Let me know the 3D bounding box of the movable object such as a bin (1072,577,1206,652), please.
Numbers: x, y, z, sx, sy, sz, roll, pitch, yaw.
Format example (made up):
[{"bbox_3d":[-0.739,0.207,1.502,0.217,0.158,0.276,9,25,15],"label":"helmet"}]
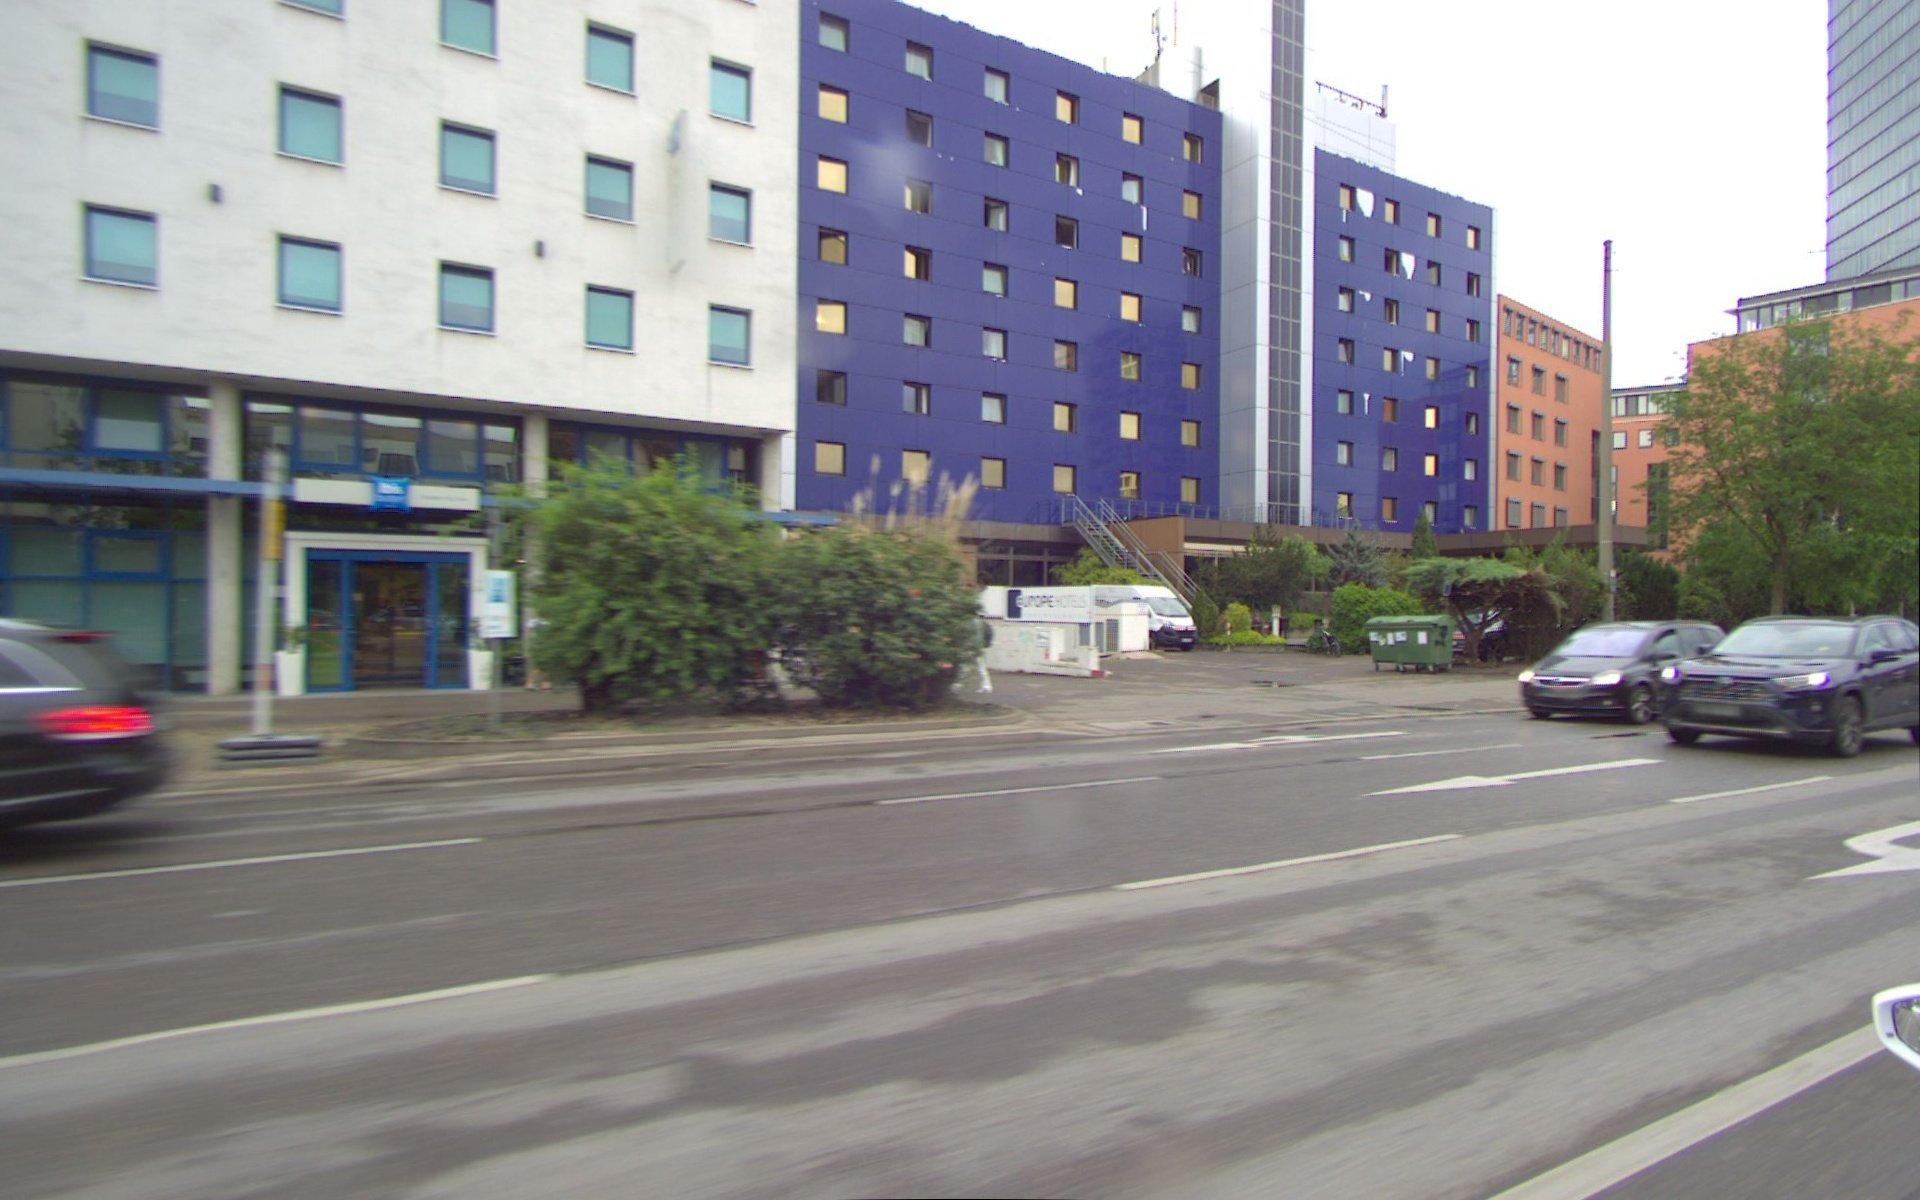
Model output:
[{"bbox_3d":[6.937,0.678,39.611,2.136,2.662,5.601,3,-4,-29],"label":"movable object such as a bin"}]

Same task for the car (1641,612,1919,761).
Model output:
[{"bbox_3d":[10.841,0.999,12.901,4.398,1.576,1.748,-1,-2,-31],"label":"car"}]

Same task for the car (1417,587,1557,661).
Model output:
[{"bbox_3d":[16.203,0.804,30.834,4.265,2.039,1.828,3,-4,-30],"label":"car"}]

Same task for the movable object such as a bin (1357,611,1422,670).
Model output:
[{"bbox_3d":[11.452,1.096,26.820,0.936,1.510,1.389,2,-4,-18],"label":"movable object such as a bin"}]

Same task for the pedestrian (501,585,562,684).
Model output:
[{"bbox_3d":[-9.049,0.735,21.223,0.801,2.039,0.803,-1,-4,32],"label":"pedestrian"}]

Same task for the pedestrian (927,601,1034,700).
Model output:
[{"bbox_3d":[0.346,0.895,19.026,1.665,1.743,1.996,0,1,-10],"label":"pedestrian"}]

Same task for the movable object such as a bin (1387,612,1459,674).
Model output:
[{"bbox_3d":[11.655,1.090,25.294,0.943,1.510,1.379,4,-4,-39],"label":"movable object such as a bin"}]

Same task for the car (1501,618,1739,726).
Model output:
[{"bbox_3d":[11.086,1.138,16.838,3.986,1.586,1.700,0,-3,-30],"label":"car"}]

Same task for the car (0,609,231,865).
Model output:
[{"bbox_3d":[-7.298,0.795,5.911,4.642,1.496,1.726,1,-2,-29],"label":"car"}]
